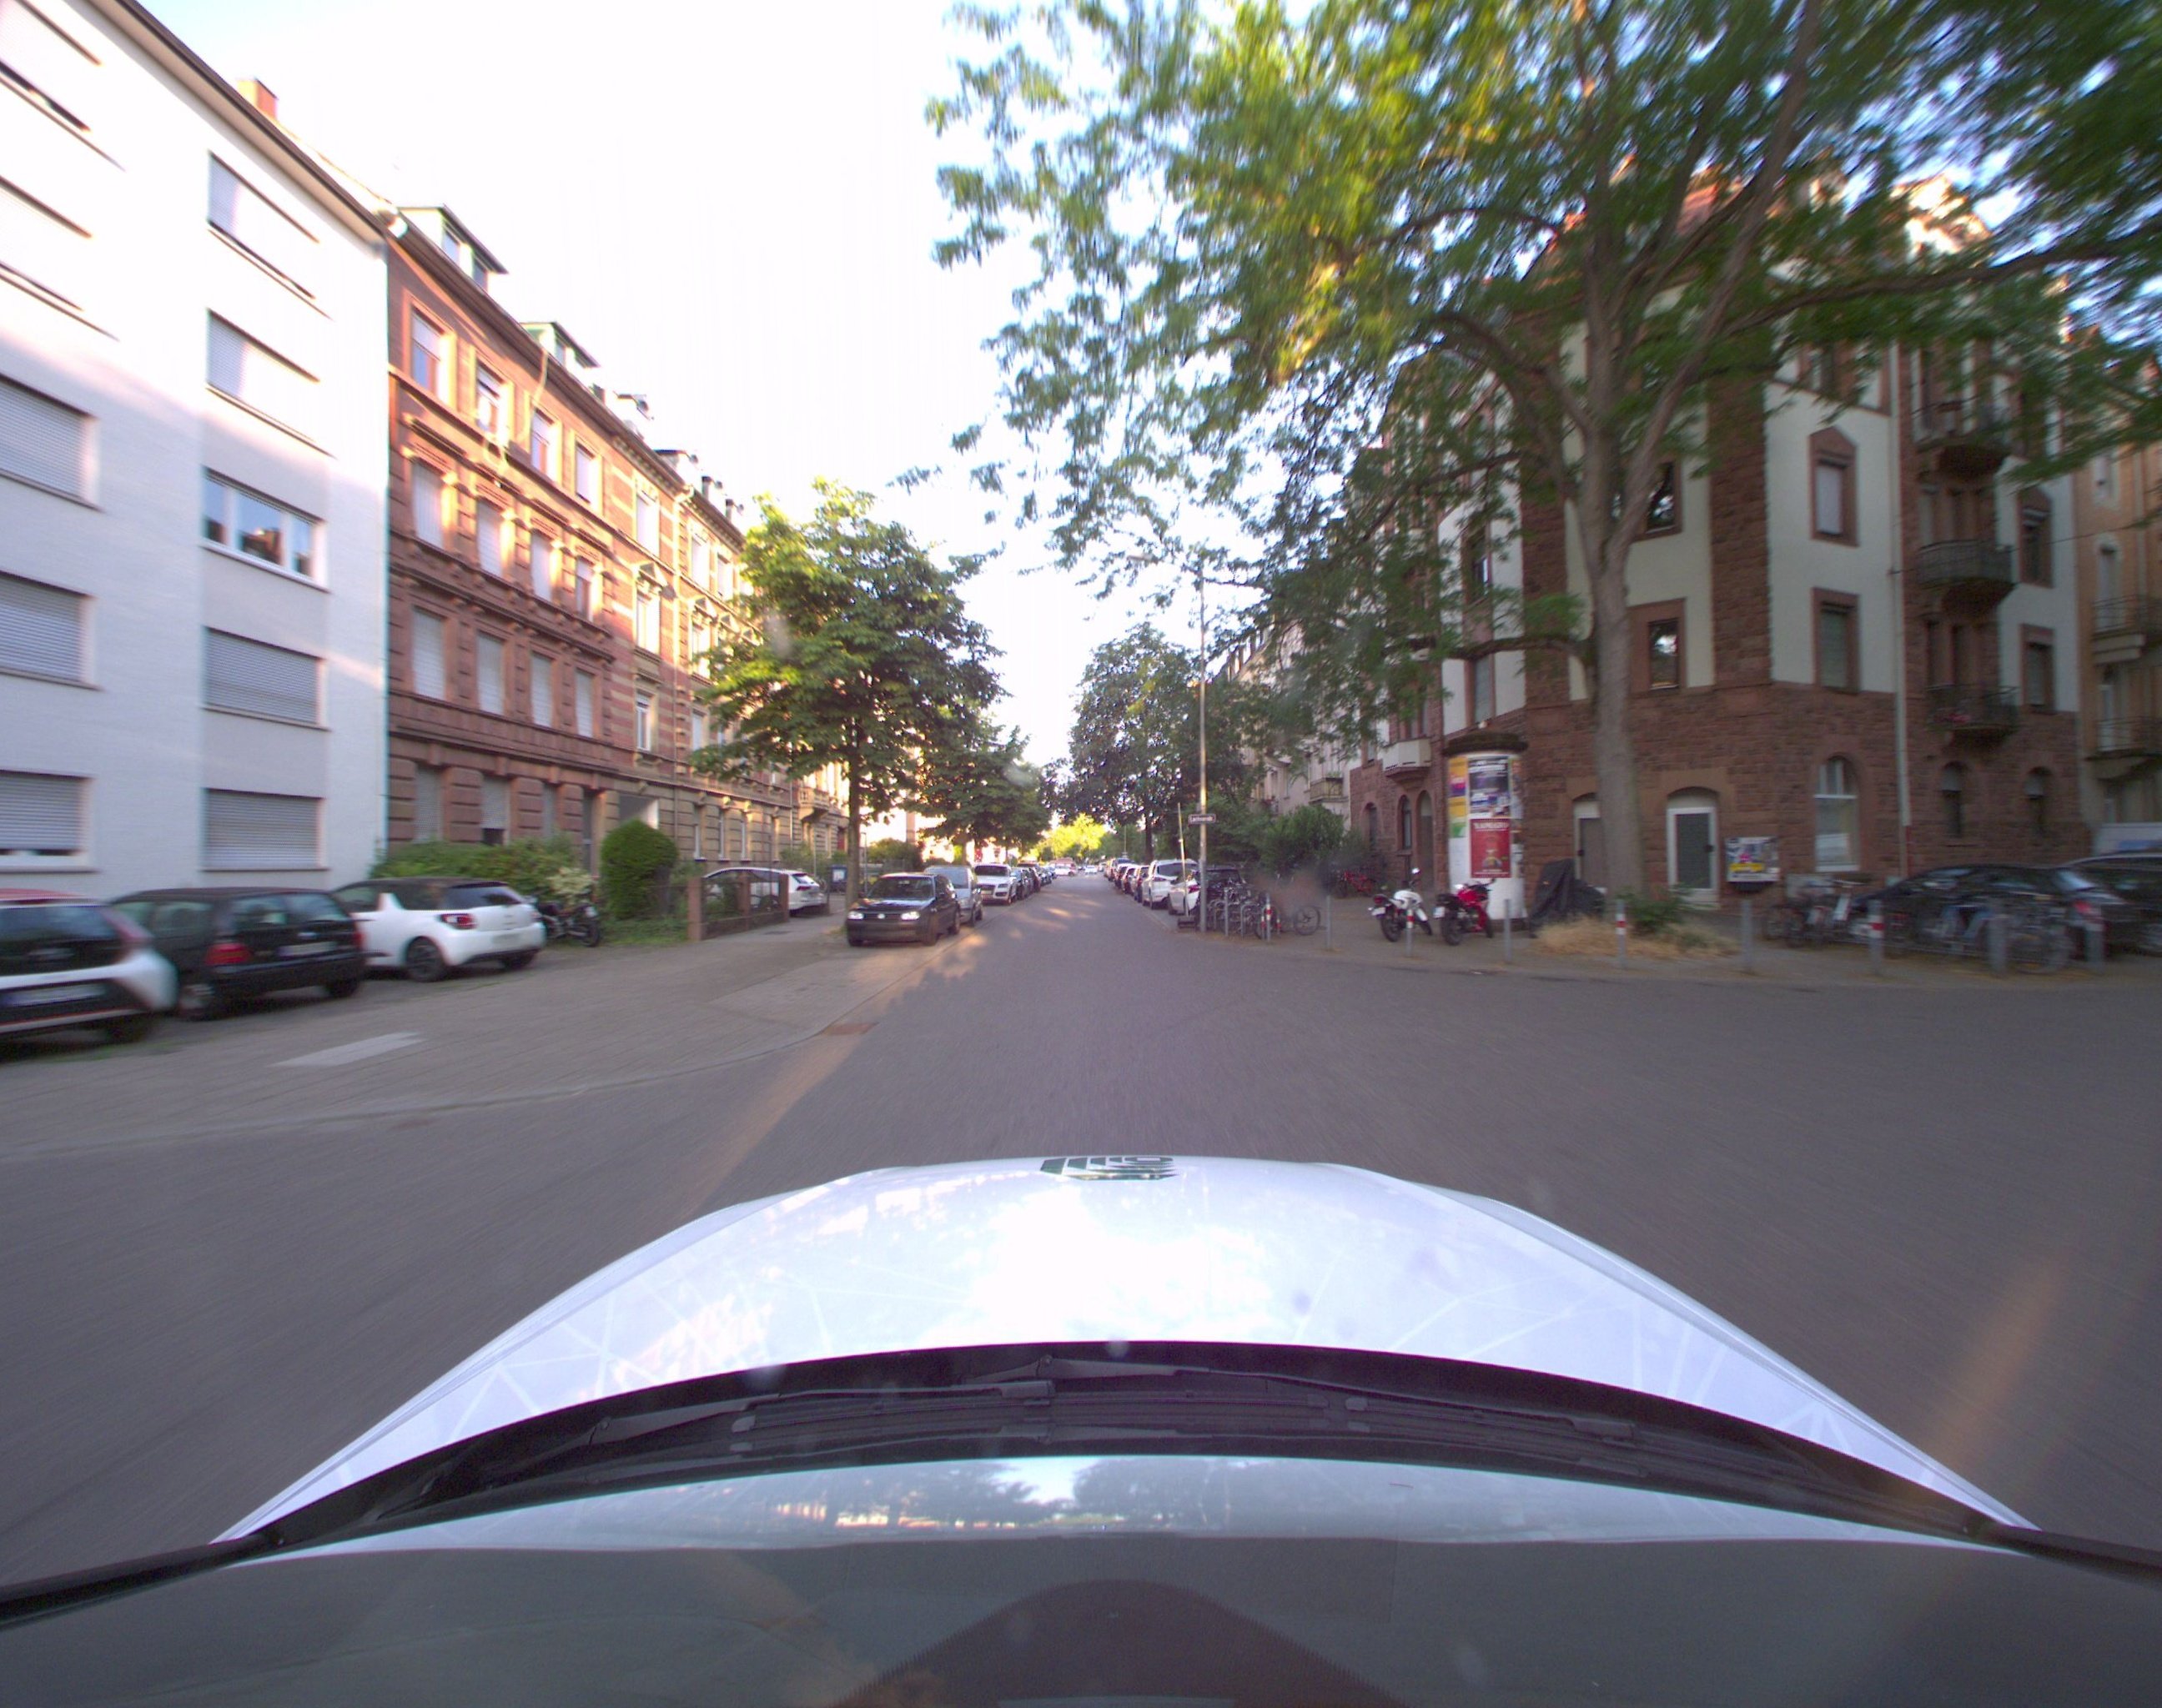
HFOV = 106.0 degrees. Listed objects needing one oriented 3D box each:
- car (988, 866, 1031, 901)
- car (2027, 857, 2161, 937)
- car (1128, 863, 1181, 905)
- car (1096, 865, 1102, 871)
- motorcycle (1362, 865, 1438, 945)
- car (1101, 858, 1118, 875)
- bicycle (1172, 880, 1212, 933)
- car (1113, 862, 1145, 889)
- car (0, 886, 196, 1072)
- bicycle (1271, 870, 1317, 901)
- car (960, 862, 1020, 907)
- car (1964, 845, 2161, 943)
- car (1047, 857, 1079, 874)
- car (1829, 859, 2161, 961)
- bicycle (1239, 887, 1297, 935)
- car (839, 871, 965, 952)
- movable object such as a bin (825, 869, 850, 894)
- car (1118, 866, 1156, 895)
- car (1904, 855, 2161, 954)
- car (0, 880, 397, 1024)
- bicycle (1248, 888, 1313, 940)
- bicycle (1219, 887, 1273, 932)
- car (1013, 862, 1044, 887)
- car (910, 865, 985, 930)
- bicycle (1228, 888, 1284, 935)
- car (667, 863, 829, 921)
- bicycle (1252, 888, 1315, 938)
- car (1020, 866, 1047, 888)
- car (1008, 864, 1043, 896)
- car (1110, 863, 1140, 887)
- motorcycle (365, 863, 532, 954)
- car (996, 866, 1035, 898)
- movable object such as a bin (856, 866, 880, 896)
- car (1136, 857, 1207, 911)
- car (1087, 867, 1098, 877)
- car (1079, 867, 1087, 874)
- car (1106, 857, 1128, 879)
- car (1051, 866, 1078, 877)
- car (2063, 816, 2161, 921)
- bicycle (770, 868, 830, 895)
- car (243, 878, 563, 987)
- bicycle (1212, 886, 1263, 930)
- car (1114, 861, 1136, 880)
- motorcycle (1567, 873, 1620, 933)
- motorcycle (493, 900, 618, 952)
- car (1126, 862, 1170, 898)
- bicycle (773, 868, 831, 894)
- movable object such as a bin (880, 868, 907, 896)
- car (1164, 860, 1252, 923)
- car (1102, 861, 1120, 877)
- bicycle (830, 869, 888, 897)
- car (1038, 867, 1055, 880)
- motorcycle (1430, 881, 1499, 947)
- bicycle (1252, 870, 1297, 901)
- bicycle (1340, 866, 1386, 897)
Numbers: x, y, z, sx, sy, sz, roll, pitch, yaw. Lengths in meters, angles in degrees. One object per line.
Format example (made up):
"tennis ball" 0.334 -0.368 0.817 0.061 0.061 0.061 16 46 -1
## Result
"car" -3.397 1.403 39.154 1.710 1.566 3.780 -1 -1 0
"car" 21.516 0.842 15.644 1.856 1.518 3.974 1 -1 -19
"car" 3.003 1.206 33.896 1.682 1.606 4.205 -1 -1 -2
"car" 4.676 3.601 211.373 1.710 1.596 3.482 -1 -1 0
"motorcycle" 6.376 0.967 16.218 0.578 1.408 2.226 -1 0 44
"car" 3.216 1.444 92.916 1.682 1.811 3.936 -1 -1 -2
"bicycle" 2.688 1.236 19.607 0.439 1.173 1.645 -1 -1 25
"car" 3.019 1.373 52.007 1.682 1.606 3.936 -1 -1 -2
"car" -10.687 1.055 7.308 4.068 1.447 1.713 -1 0 9
"bicycle" 7.531 1.121 28.770 1.505 1.034 0.330 -2 0 -2
"car" -3.670 1.200 33.464 1.915 1.717 4.427 -1 -1 0
"car" 19.676 0.702 15.084 1.777 1.720 4.115 -1 -1 -20
"car" -2.524 1.655 114.640 4.338 2.318 1.744 -1 -1 -2
"car" 15.253 0.850 13.802 1.679 1.478 3.413 0 -1 -17
"bicycle" 4.063 1.232 17.681 1.227 0.963 0.328 -1 0 -17
"car" -3.685 1.143 17.428 1.610 1.470 3.964 -1 -1 3
"movable object such as a bin" -12.134 1.356 40.596 1.098 1.209 1.000 1 0 -14
"car" 2.981 1.404 43.916 1.681 1.441 4.208 -3 -1 0
"car" 17.566 0.817 14.309 1.824 1.553 3.977 -1 -1 -17
"car" -10.887 1.084 9.826 4.067 1.447 1.823 -1 0 10
"bicycle" 4.098 1.223 16.761 1.221 0.987 0.330 -2 0 -2
"bicycle" 3.811 1.267 18.773 1.229 0.948 0.328 -1 0 -22
"car" -3.449 1.360 54.420 1.710 1.596 4.518 -1 -1 0
"car" -3.582 1.124 22.388 1.592 1.603 3.740 -1 -1 -3
"bicycle" 3.877 1.260 18.073 1.229 0.957 0.328 -1 0 -22
"car" -9.950 1.112 24.565 4.081 1.527 1.708 2 -1 -1
"bicycle" 4.249 1.232 17.118 1.221 0.987 0.330 -2 0 -4
"car" -3.408 1.639 59.242 1.710 1.465 3.986 -1 -1 0
"car" -3.196 1.464 47.362 1.710 1.790 4.215 -1 -1 0
"car" 3.005 1.437 56.412 1.682 1.606 3.936 -1 -1 -2
"motorcycle" -11.809 1.011 15.220 2.836 1.638 0.676 -1 -1 8
"car" -3.429 1.461 43.402 1.710 1.566 3.787 -1 -1 0
"movable object such as a bin" -10.537 1.322 40.290 1.098 1.414 1.000 1 0 -14
"car" 3.102 1.007 28.680 1.793 1.711 4.596 -1 -1 -2
"car" 1.944 2.988 135.571 1.807 1.596 3.482 -1 -1 0
"car" 0.487 4.101 198.692 1.710 1.596 3.482 -1 -1 0
"car" 3.169 1.256 72.334 1.676 1.941 3.877 -1 -1 -2
"car" -2.271 2.368 112.070 3.611 1.461 1.604 -1 -1 -4
"car" 26.386 0.304 17.992 2.402 2.418 5.508 0 -1 -22
"bicycle" -13.199 1.293 38.314 2.529 1.192 0.641 2 0 -11
"car" -10.204 1.131 12.409 3.542 1.447 1.822 -1 0 9
"bicycle" 3.736 1.277 19.386 1.231 0.951 0.327 -1 0 -28
"car" 3.650 1.404 68.559 1.535 1.521 3.428 -1 -1 -2
"motorcycle" 10.411 0.959 16.522 2.123 1.079 0.432 -2 0 -45
"motorcycle" -10.294 1.406 15.960 2.222 0.958 0.589 -1 -1 9
"car" 3.158 1.238 39.161 1.682 1.606 3.745 -1 -1 -2
"bicycle" -13.291 1.291 38.828 2.529 1.192 0.641 2 0 -11
"movable object such as a bin" -9.303 1.386 40.461 1.008 1.321 1.006 1 0 5
"car" 3.505 0.988 23.041 1.683 1.592 3.654 -1 -1 -4
"car" 3.207 1.591 87.010 1.682 1.606 3.936 -1 -1 -2
"bicycle" -10.366 1.356 38.010 2.516 1.192 0.644 2 0 6
"car" -3.839 2.193 91.701 1.709 1.486 3.631 -1 -2 1
"motorcycle" 7.251 1.092 15.347 2.226 1.079 0.432 -2 0 -45
"bicycle" 6.964 1.129 29.337 1.505 1.034 0.330 -2 0 -2
"bicycle" 10.053 0.968 28.998 1.505 1.034 0.330 -2 0 -2
